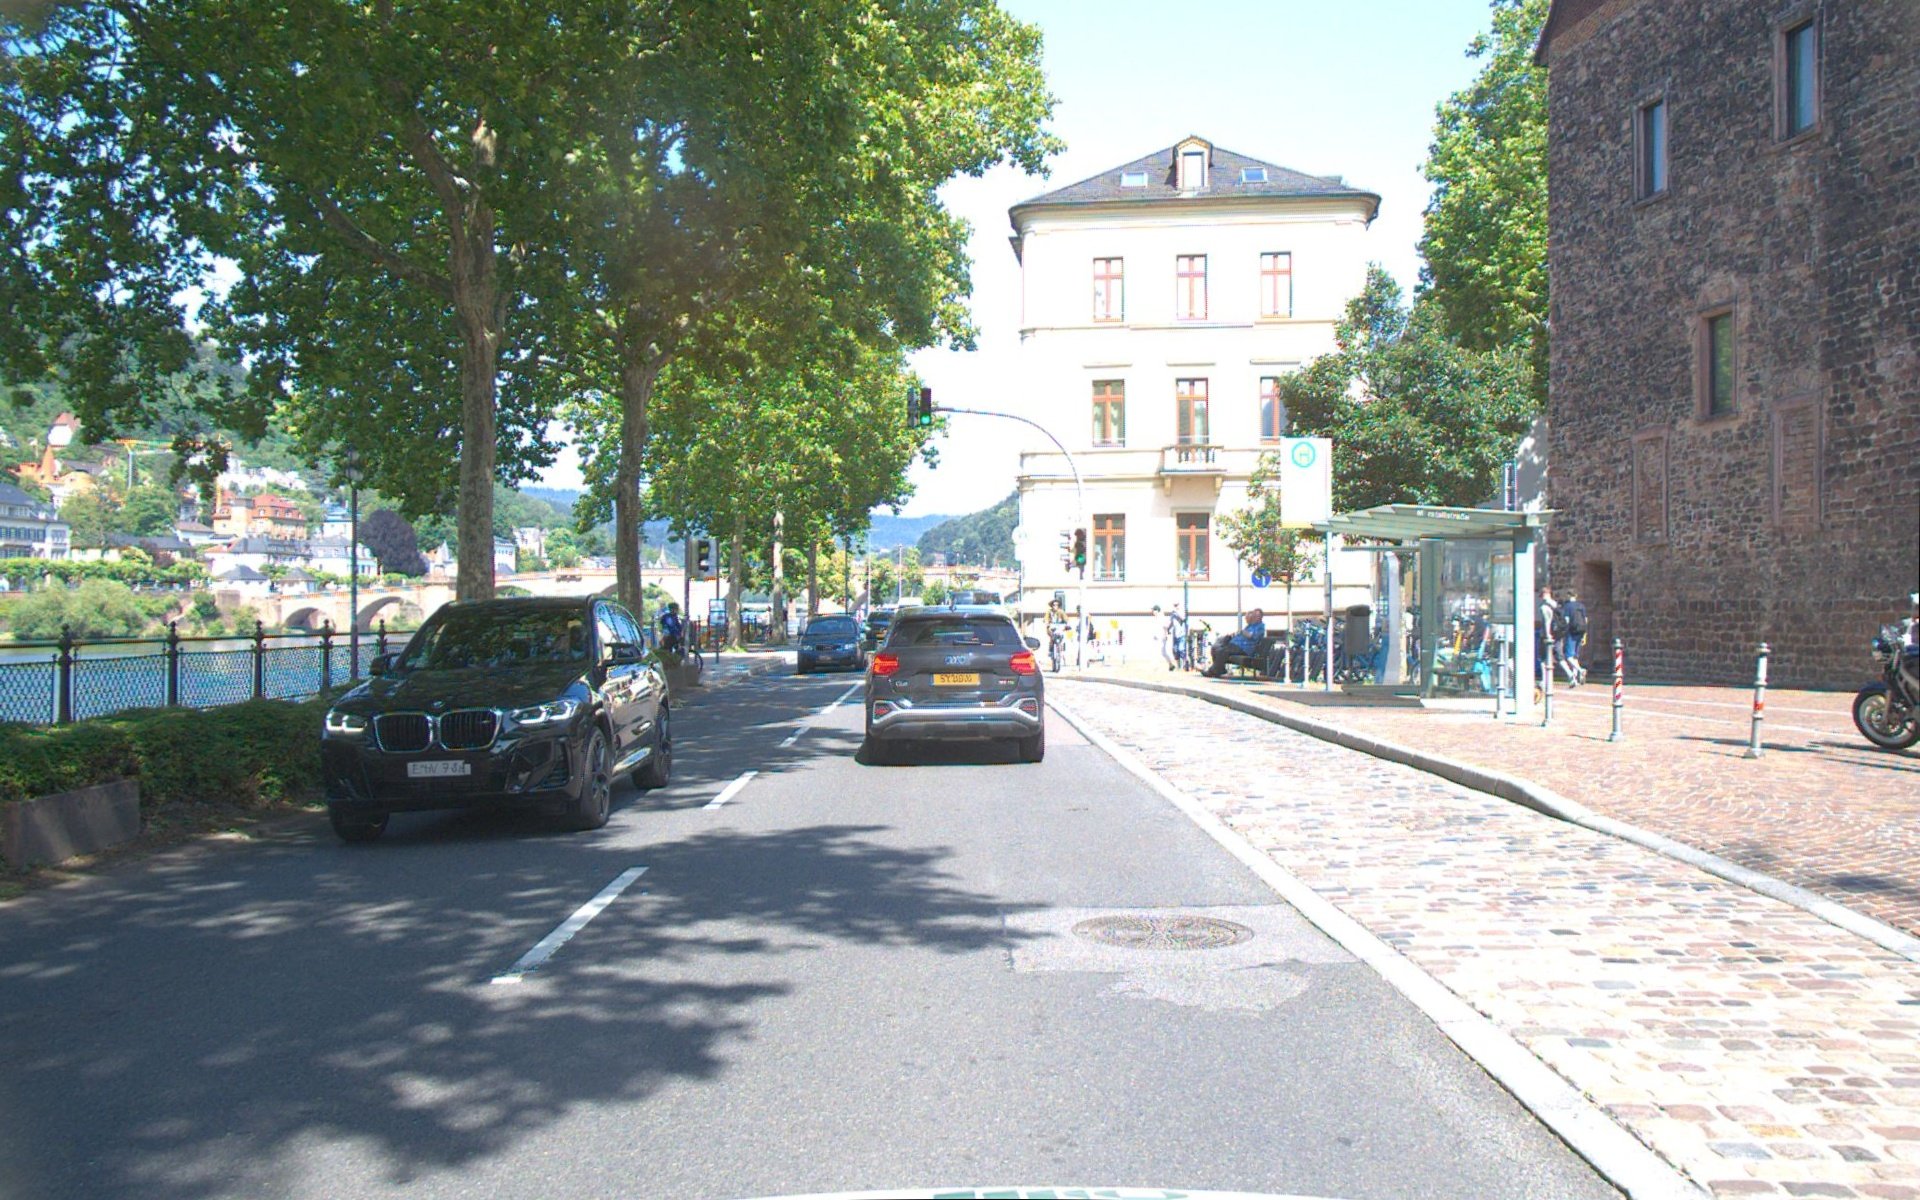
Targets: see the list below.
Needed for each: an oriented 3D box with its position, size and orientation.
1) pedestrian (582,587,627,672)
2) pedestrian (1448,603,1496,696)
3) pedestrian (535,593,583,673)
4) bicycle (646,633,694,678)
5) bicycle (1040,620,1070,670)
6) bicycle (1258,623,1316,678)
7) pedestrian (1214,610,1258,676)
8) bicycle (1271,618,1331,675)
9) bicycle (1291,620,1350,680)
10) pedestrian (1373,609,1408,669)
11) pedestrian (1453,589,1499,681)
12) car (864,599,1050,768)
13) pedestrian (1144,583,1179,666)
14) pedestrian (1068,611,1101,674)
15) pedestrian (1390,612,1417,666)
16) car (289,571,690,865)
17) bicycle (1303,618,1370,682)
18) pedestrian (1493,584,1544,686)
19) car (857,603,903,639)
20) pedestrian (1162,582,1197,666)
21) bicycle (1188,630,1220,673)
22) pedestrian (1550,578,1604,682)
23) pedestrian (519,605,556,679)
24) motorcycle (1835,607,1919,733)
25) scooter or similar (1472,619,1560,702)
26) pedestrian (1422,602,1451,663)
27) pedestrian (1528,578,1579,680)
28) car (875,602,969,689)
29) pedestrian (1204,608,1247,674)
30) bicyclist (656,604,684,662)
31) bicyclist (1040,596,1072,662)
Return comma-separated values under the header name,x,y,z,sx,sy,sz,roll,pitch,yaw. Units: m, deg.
name,x,y,z,sx,sy,sz,roll,pitch,yaw
pedestrian,-8.831,0.735,41.065,0.891,2.049,0.586,2,-1,4
pedestrian,7.970,0.764,25.740,0.546,1.409,0.588,2,-1,2
pedestrian,-9.460,0.785,39.071,0.891,1.843,0.586,2,-2,4
bicycle,-6.821,1.312,38.949,1.072,1.024,0.303,2,-2,-7
bicycle,2.171,1.025,37.972,0.428,1.105,1.675,2,-1,-4
bicycle,6.439,0.993,32.549,1.166,1.033,0.178,2,-1,-19
pedestrian,5.232,0.811,31.380,0.651,1.233,0.640,2,-1,-7
bicycle,6.574,0.898,31.884,1.184,1.053,0.178,2,-1,-19
bicycle,6.789,0.944,31.140,1.140,1.089,0.178,2,-1,-19
pedestrian,14.874,1.341,57.169,0.925,2.049,0.807,2,-1,0
pedestrian,10.428,0.699,33.433,0.638,1.834,0.847,1,-1,-1
car,-0.043,0.778,17.155,1.707,1.535,3.646,-1,0,-1
pedestrian,5.098,0.621,41.789,0.627,2.049,0.664,1,-2,29
pedestrian,3.060,1.038,40.674,0.679,1.527,0.513,2,-1,-5
pedestrian,17.267,1.516,64.439,0.822,2.049,0.738,2,-1,0
car,-3.427,0.774,12.993,1.776,1.755,4.421,-5,0,0
bicycle,6.932,0.923,30.423,1.284,1.147,0.178,2,-1,-19
pedestrian,10.736,0.666,31.809,0.655,1.917,0.821,2,-1,-2
car,-3.945,1.050,82.364,1.952,1.654,4.000,2,-1,1
pedestrian,5.430,0.600,40.917,0.627,2.049,0.664,1,-2,29
bicycle,5.667,1.196,38.498,0.293,0.980,1.184,2,-1,-13
pedestrian,12.456,0.606,33.395,0.715,2.049,0.878,2,-1,-1
pedestrian,-9.699,0.962,38.023,0.611,1.647,0.586,2,-1,4
motorcycle,8.085,0.569,13.466,0.555,1.030,2.489,0,0,-1
scooter or similar,7.568,0.816,22.523,1.067,1.084,0.323,2,-1,-3
pedestrian,12.536,0.850,43.487,0.609,1.559,0.466,2,-1,3
pedestrian,11.643,0.563,32.475,0.655,1.954,0.821,2,-1,-2
car,-0.748,0.900,33.809,1.756,1.623,3.398,2,0,-1
pedestrian,5.158,0.797,32.139,0.651,1.253,0.640,2,-1,-7
bicyclist,-6.820,0.767,38.944,0.555,1.334,0.551,2,-1,-5
bicyclist,2.200,0.666,37.914,0.593,1.475,0.590,2,-1,-5
